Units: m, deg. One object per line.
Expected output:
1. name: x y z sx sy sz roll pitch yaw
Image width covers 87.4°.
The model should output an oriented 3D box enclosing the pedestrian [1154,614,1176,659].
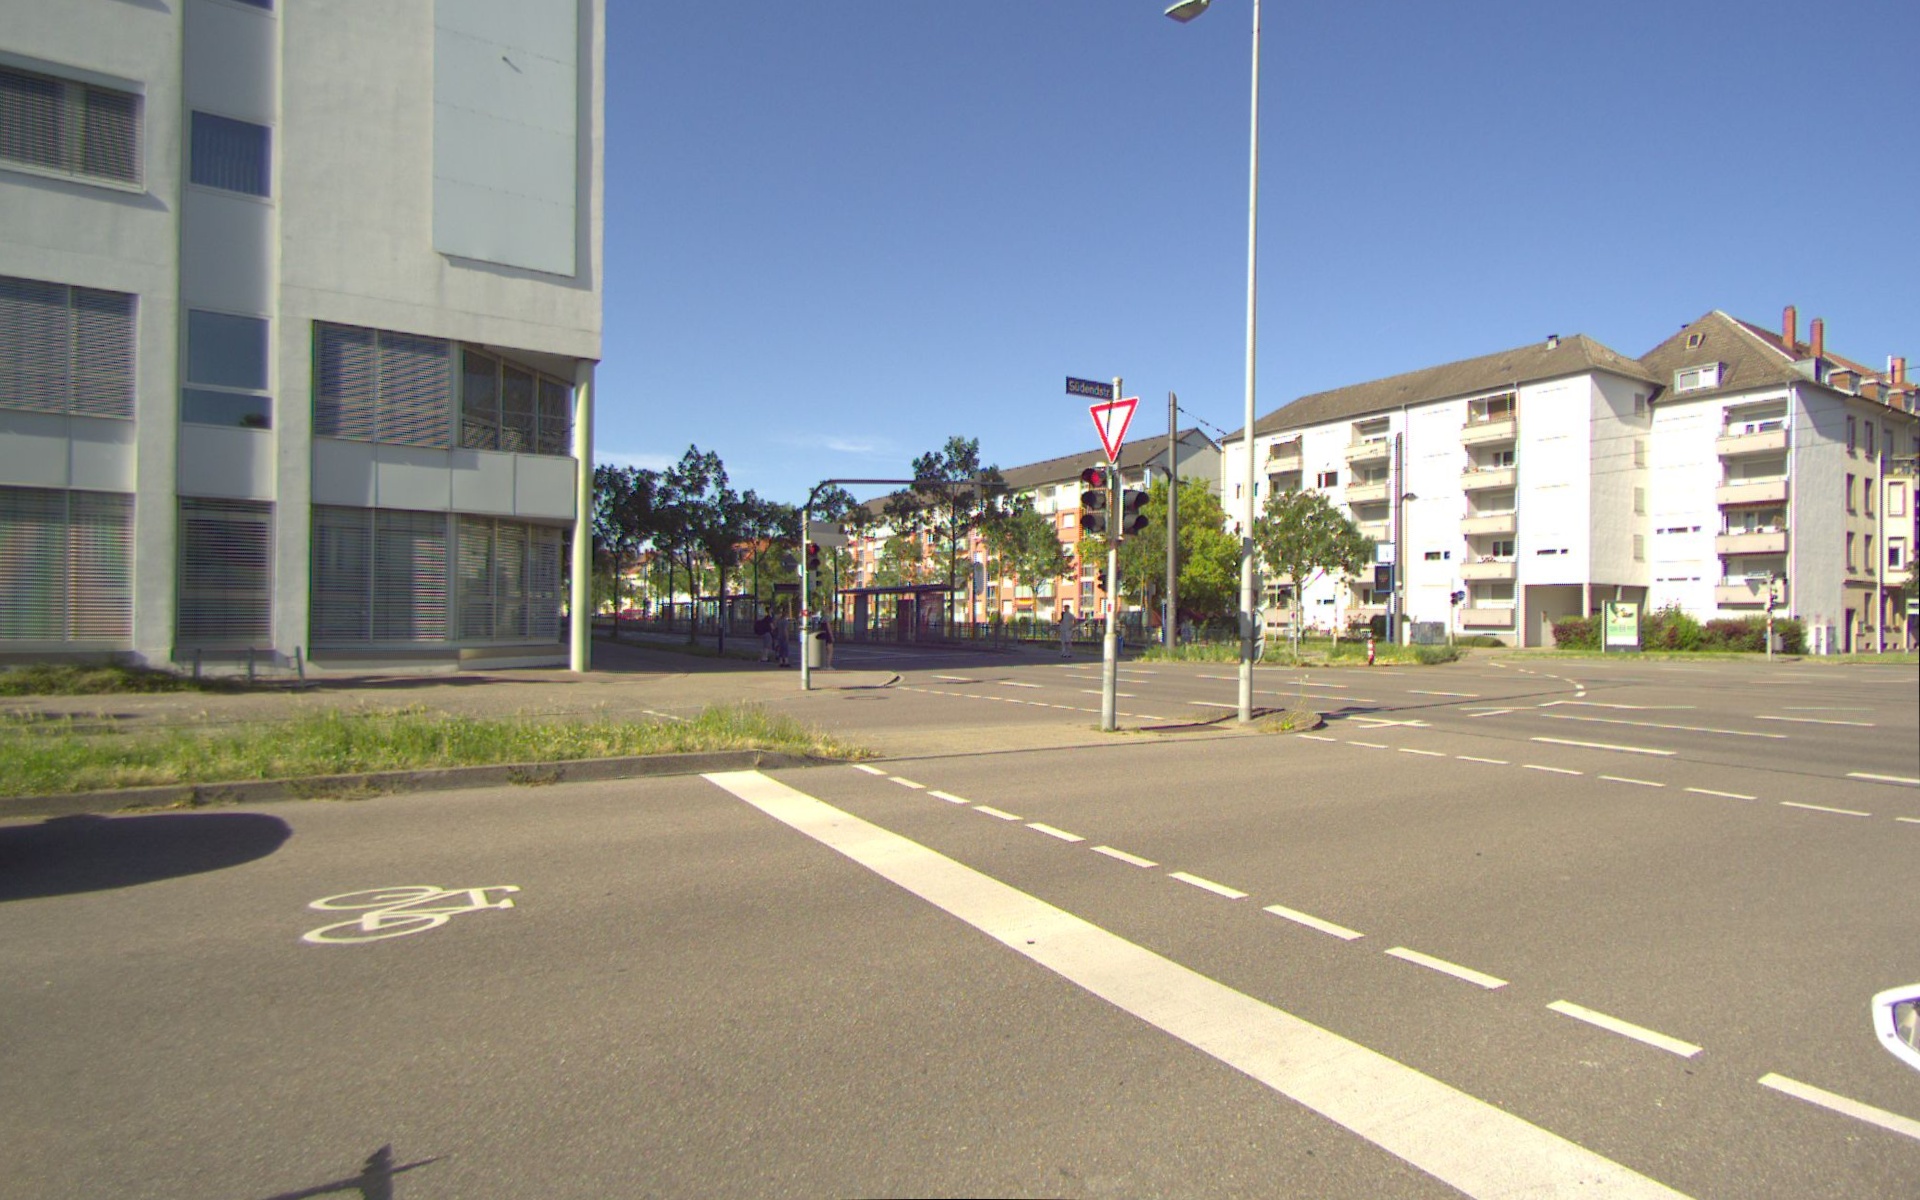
1. pedestrian: 8.155 1.437 39.968 0.797 1.749 1.155 0 -1 10

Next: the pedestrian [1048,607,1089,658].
1. pedestrian: 3.871 1.147 35.901 1.143 1.794 0.914 1 -1 -37

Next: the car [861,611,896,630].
1. car: -8.437 2.150 103.893 1.979 1.873 3.964 1 -2 -33

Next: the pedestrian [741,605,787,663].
1. pedestrian: -6.048 1.050 30.962 1.143 1.749 0.805 1 -1 -37

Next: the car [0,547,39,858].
1. car: -6.822 0.496 3.944 4.428 1.650 1.744 2 1 -32

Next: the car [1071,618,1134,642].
1. car: 9.955 2.102 70.371 4.310 1.451 1.694 2 1 7

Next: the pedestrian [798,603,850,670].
1. pedestrian: -3.619 0.969 26.729 1.143 1.749 0.805 1 -1 -37

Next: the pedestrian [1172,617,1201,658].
1. pedestrian: 8.797 1.452 38.989 0.850 1.554 0.719 1 -1 -37

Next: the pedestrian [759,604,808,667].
1. pedestrian: -5.043 1.017 28.739 1.143 1.749 0.805 1 -1 -37

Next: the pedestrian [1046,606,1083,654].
1. pedestrian: 3.924 1.129 37.702 1.143 1.749 0.805 1 -1 -37
